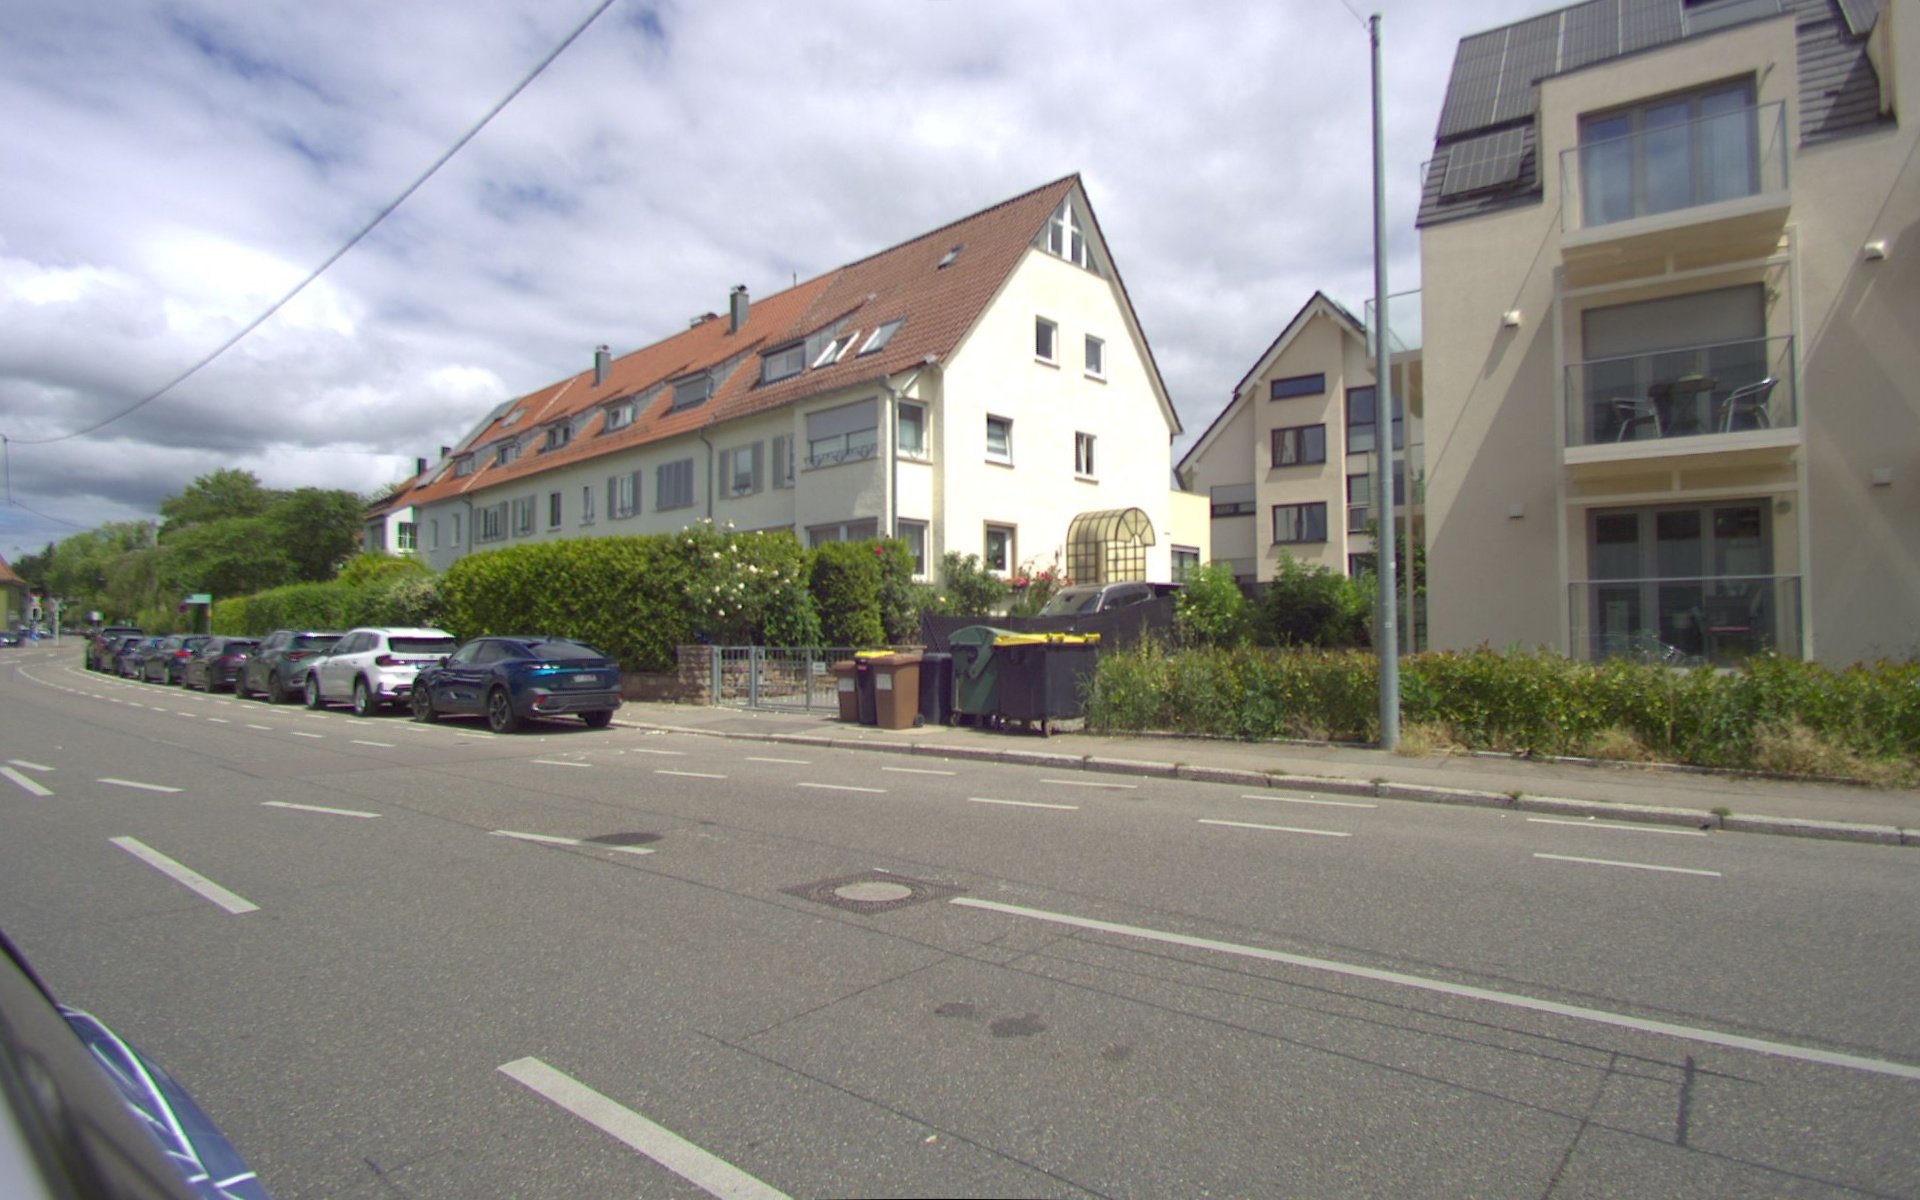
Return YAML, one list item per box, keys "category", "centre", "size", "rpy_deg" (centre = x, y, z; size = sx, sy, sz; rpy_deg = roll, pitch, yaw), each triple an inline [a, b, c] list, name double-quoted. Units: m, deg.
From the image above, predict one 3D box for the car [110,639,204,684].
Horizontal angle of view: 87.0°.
- category: "car"
  centre: [-27.307, 2.039, 34.382]
  size: [4.439, 1.428, 1.759]
  rpy_deg: [-2, -3, 42]

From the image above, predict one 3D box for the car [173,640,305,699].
- category: "car"
  centre: [-19.320, 1.787, 27.038]
  size: [4.690, 1.419, 1.971]
  rpy_deg: [-2, -3, 43]

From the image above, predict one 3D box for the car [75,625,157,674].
- category: "car"
  centre: [-35.011, 2.035, 41.935]
  size: [5.405, 1.909, 1.971]
  rpy_deg: [-2, -5, 44]

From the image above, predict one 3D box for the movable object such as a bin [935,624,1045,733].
- category: "movable object such as a bin"
  centre: [0.430, 1.101, 14.696]
  size: [1.213, 1.493, 1.054]
  rpy_deg: [-2, -3, 39]

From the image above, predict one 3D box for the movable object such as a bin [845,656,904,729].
- category: "movable object such as a bin"
  centre: [-1.267, 1.363, 15.059]
  size: [0.658, 1.032, 0.589]
  rpy_deg: [-2, -3, 41]

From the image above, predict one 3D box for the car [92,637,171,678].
- category: "car"
  centre: [-31.255, 2.129, 38.155]
  size: [4.340, 1.428, 1.758]
  rpy_deg: [-2, -3, 43]

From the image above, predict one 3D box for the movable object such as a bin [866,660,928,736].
- category: "movable object such as a bin"
  centre: [-0.901, 1.383, 14.457]
  size: [0.658, 1.015, 0.589]
  rpy_deg: [-2, -3, 41]

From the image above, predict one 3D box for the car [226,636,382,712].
- category: "car"
  centre: [-15.345, 1.639, 23.566]
  size: [4.690, 1.576, 1.971]
  rpy_deg: [-2, -3, 43]

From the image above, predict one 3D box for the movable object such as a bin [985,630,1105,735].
- category: "movable object such as a bin"
  centre: [1.140, 1.069, 13.610]
  size: [1.214, 1.323, 1.053]
  rpy_deg: [-2, -3, 43]

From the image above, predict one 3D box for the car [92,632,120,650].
- category: "car"
  centre: [-84.606, 4.020, 100.313]
  size: [1.892, 1.661, 4.301]
  rpy_deg: [6, -5, -38]

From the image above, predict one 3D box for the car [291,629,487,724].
- category: "car"
  centre: [-11.326, 1.415, 19.949]
  size: [4.515, 1.663, 1.973]
  rpy_deg: [-2, -3, 41]

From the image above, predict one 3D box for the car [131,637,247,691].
- category: "car"
  centre: [-23.434, 1.889, 30.709]
  size: [4.560, 1.503, 1.760]
  rpy_deg: [-2, -3, 39]

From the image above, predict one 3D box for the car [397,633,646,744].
- category: "car"
  centre: [-7.342, 1.343, 16.773]
  size: [4.485, 1.599, 1.973]
  rpy_deg: [-2, -3, 40]

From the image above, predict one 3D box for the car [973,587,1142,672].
- category: "car"
  centre: [2.236, 0.619, 22.379]
  size: [1.802, 1.719, 3.946]
  rpy_deg: [-2, -1, 40]

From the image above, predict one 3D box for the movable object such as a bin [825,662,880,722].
- category: "movable object such as a bin"
  centre: [-1.662, 1.406, 15.603]
  size: [0.614, 0.886, 0.589]
  rpy_deg: [-2, -3, 41]
